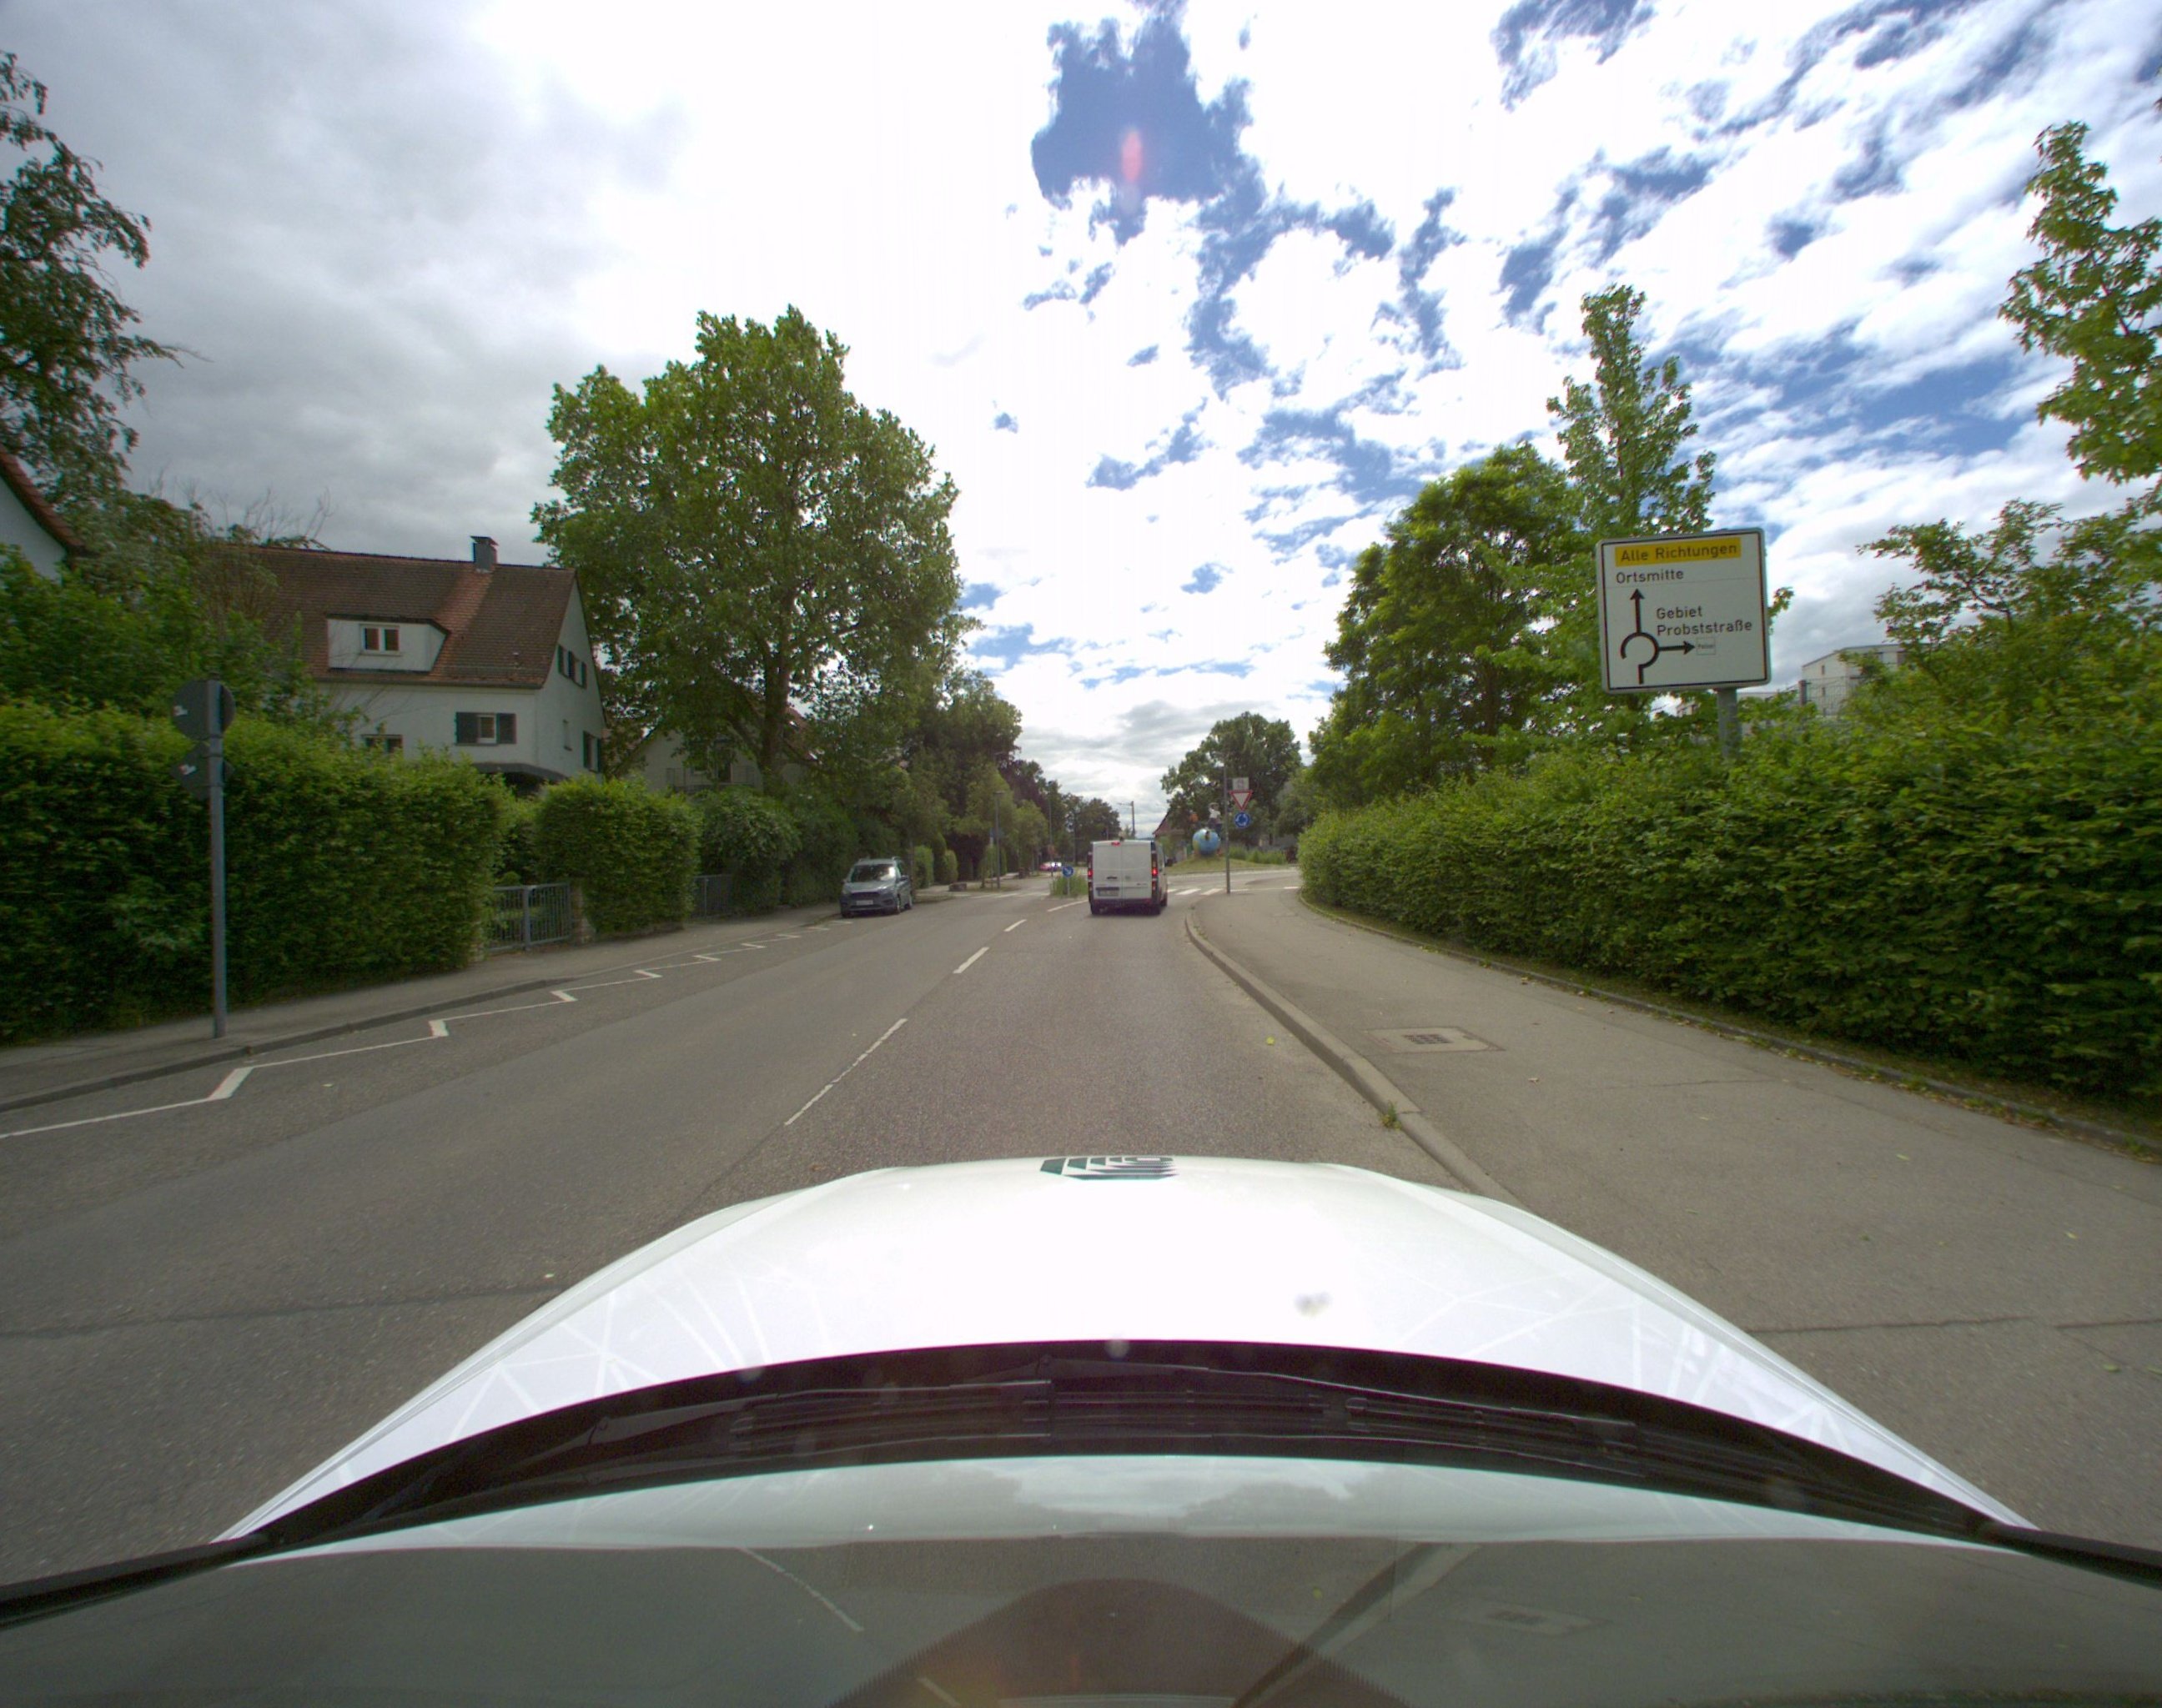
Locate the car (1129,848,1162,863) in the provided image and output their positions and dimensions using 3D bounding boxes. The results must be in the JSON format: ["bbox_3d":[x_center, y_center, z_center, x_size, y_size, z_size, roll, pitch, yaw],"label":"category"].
[{"bbox_3d":[7.002,0.108,88.560,1.941,1.537,3.896,-2,1,-22],"label":"car"}]

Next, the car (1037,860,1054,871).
[{"bbox_3d":[-5.064,1.608,115.196,2.061,1.386,4.036,-2,1,-8],"label":"car"}]

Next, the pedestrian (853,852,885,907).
[{"bbox_3d":[-8.122,0.952,31.230,0.870,2.013,1.040,-3,0,-3],"label":"pedestrian"}]

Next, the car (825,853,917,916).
[{"bbox_3d":[-6.460,0.861,25.578,2.129,1.772,4.456,0,0,-6],"label":"car"}]

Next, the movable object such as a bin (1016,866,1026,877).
[{"bbox_3d":[-5.005,1.436,67.752,0.625,0.863,0.642,-4,0,12],"label":"movable object such as a bin"}]

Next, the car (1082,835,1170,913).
[{"bbox_3d":[1.392,0.483,23.031,2.023,1.945,5.005,0,0,8],"label":"car"}]
